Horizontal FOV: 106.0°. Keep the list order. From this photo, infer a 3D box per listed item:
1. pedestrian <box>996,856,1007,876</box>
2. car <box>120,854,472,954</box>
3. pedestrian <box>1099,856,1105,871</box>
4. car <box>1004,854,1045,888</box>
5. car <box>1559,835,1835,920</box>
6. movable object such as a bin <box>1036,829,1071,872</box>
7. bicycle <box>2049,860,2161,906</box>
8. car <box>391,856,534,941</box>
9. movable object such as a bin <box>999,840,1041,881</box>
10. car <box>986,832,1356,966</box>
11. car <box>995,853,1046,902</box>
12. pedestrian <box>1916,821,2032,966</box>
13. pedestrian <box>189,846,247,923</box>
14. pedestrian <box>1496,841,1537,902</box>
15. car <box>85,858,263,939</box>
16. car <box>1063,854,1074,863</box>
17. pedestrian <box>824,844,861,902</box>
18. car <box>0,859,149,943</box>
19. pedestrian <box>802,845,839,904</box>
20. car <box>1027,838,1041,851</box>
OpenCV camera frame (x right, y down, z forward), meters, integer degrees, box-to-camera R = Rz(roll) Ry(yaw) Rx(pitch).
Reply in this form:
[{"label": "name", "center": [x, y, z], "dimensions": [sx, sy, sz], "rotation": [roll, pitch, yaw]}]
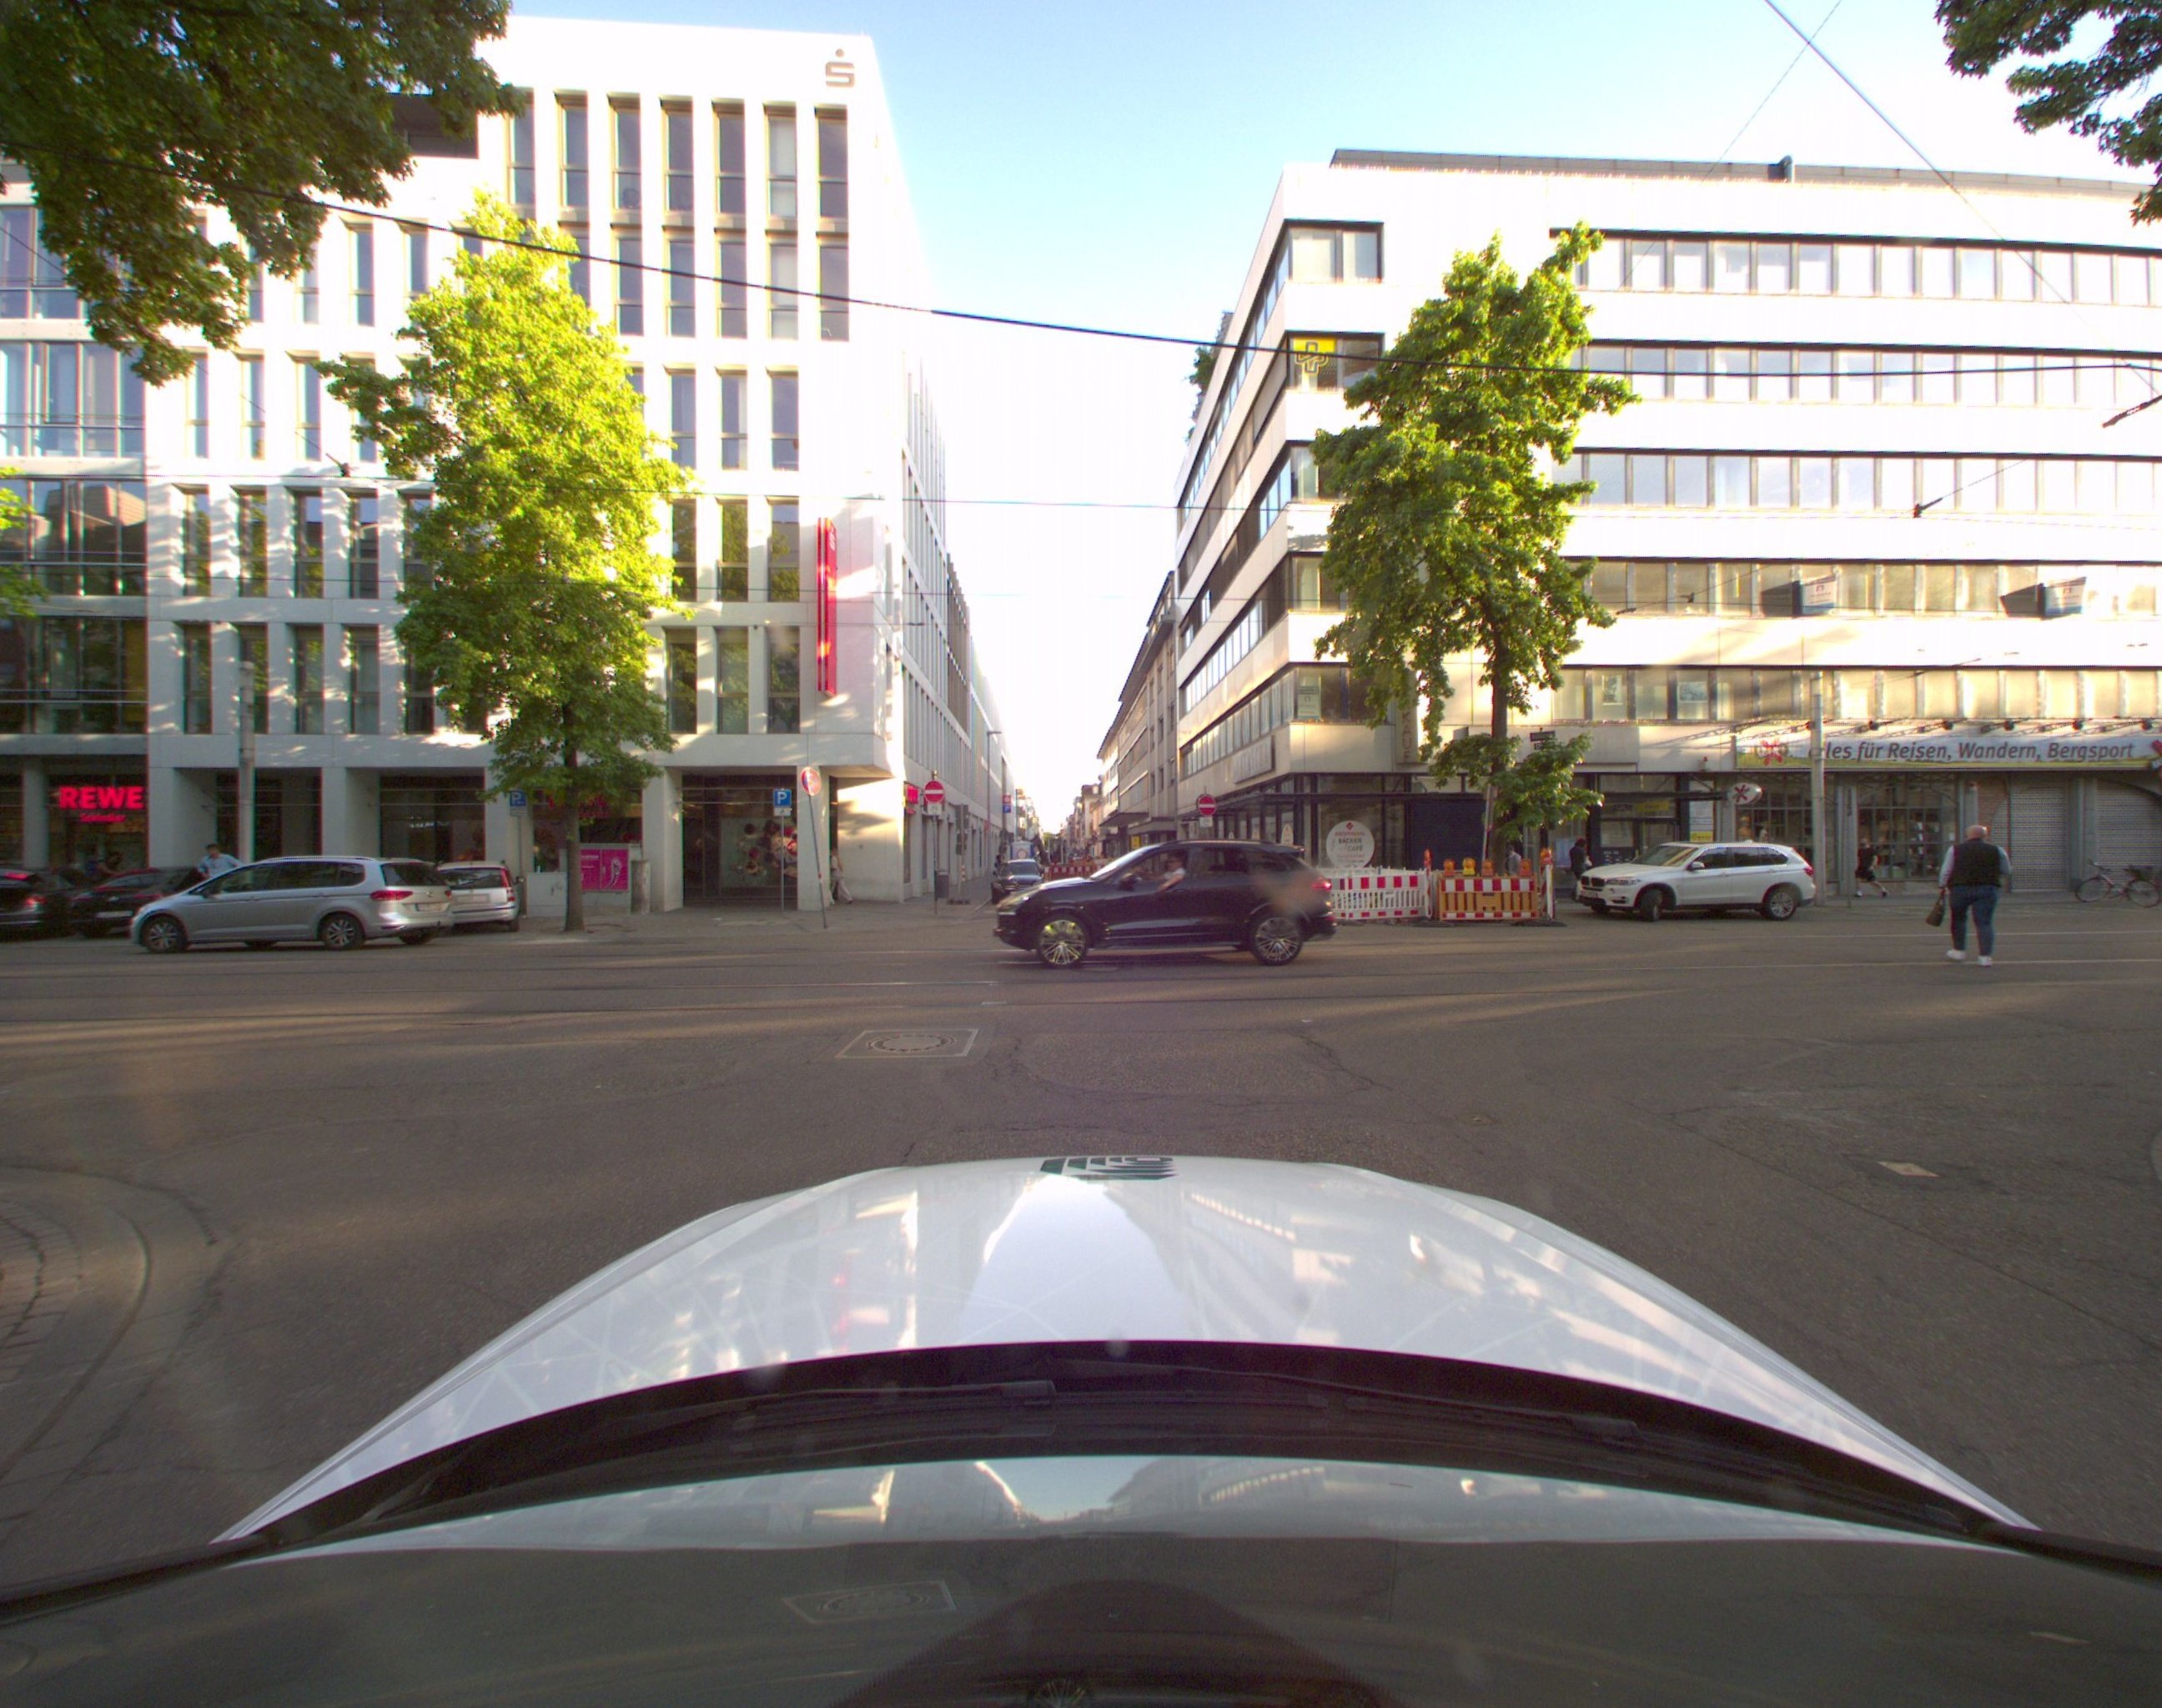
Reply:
[{"label": "pedestrian", "center": [-5.784, 0.853, 59.182], "dimensions": [0.713, 1.464, 0.525], "rotation": [-2, 0, 0]}, {"label": "car", "center": [-13.751, 0.856, 14.526], "dimensions": [4.264, 1.593, 1.825], "rotation": [-1, -2, -6]}, {"label": "pedestrian", "center": [2.080, 0.925, 80.219], "dimensions": [0.521, 1.464, 0.719], "rotation": [-1, 0, 6]}, {"label": "car", "center": [-2.631, 0.771, 37.824], "dimensions": [1.787, 1.451, 3.136], "rotation": [-1, 0, -5]}, {"label": "car", "center": [14.021, 0.485, 18.744], "dimensions": [4.918, 1.775, 2.021], "rotation": [0, 2, -3]}, {"label": "movable object such as a bin", "center": [-1.785, -0.233, 53.307], "dimensions": [2.151, 2.663, 4.568], "rotation": [-1, 0, -2]}, {"label": "bicycle", "center": [25.608, 0.682, 20.204], "dimensions": [0.666, 0.952, 2.024], "rotation": [-2, 3, -4]}, {"label": "car", "center": [-13.707, 0.885, 18.307], "dimensions": [1.956, 1.505, 3.961], "rotation": [-1, 3, -29]}, {"label": "movable object such as a bin", "center": [-3.213, 0.318, 43.465], "dimensions": [1.988, 2.013, 3.998], "rotation": [-2, 0, -2]}, {"label": "car", "center": [1.184, 0.590, 11.796], "dimensions": [4.918, 1.726, 2.020], "rotation": [0, 0, -3]}, {"label": "car", "center": [-2.114, 0.776, 28.185], "dimensions": [1.627, 1.550, 3.136], "rotation": [-1, 0, -5]}, {"label": "pedestrian", "center": [11.583, 0.477, 10.603], "dimensions": [0.795, 1.776, 1.079], "rotation": [-2, 0, 37]}, {"label": "pedestrian", "center": [-18.580, 0.634, 17.544], "dimensions": [0.642, 1.627, 0.638], "rotation": [0, 0, -23]}, {"label": "pedestrian", "center": [11.343, 0.445, 21.222], "dimensions": [0.704, 1.549, 0.578], "rotation": [-2, 0, -5]}, {"label": "car", "center": [-20.573, 0.921, 18.674], "dimensions": [1.595, 1.505, 3.559], "rotation": [-1, 3, -29]}, {"label": "car", "center": [-2.598, 1.001, 167.401], "dimensions": [1.988, 1.776, 3.997], "rotation": [-2, 0, -2]}, {"label": "pedestrian", "center": [-6.877, 0.546, 23.450], "dimensions": [0.862, 1.627, 0.615], "rotation": [-2, 0, 42]}, {"label": "car", "center": [-22.815, 0.969, 17.781], "dimensions": [1.956, 1.505, 3.961], "rotation": [-1, 3, -29]}, {"label": "pedestrian", "center": [-7.373, 0.562, 23.033], "dimensions": [0.862, 1.627, 0.615], "rotation": [-2, 0, 42]}, {"label": "car", "center": [-7.091, -1.415, 122.765], "dimensions": [1.988, 1.776, 3.997], "rotation": [-2, 0, -2]}]
